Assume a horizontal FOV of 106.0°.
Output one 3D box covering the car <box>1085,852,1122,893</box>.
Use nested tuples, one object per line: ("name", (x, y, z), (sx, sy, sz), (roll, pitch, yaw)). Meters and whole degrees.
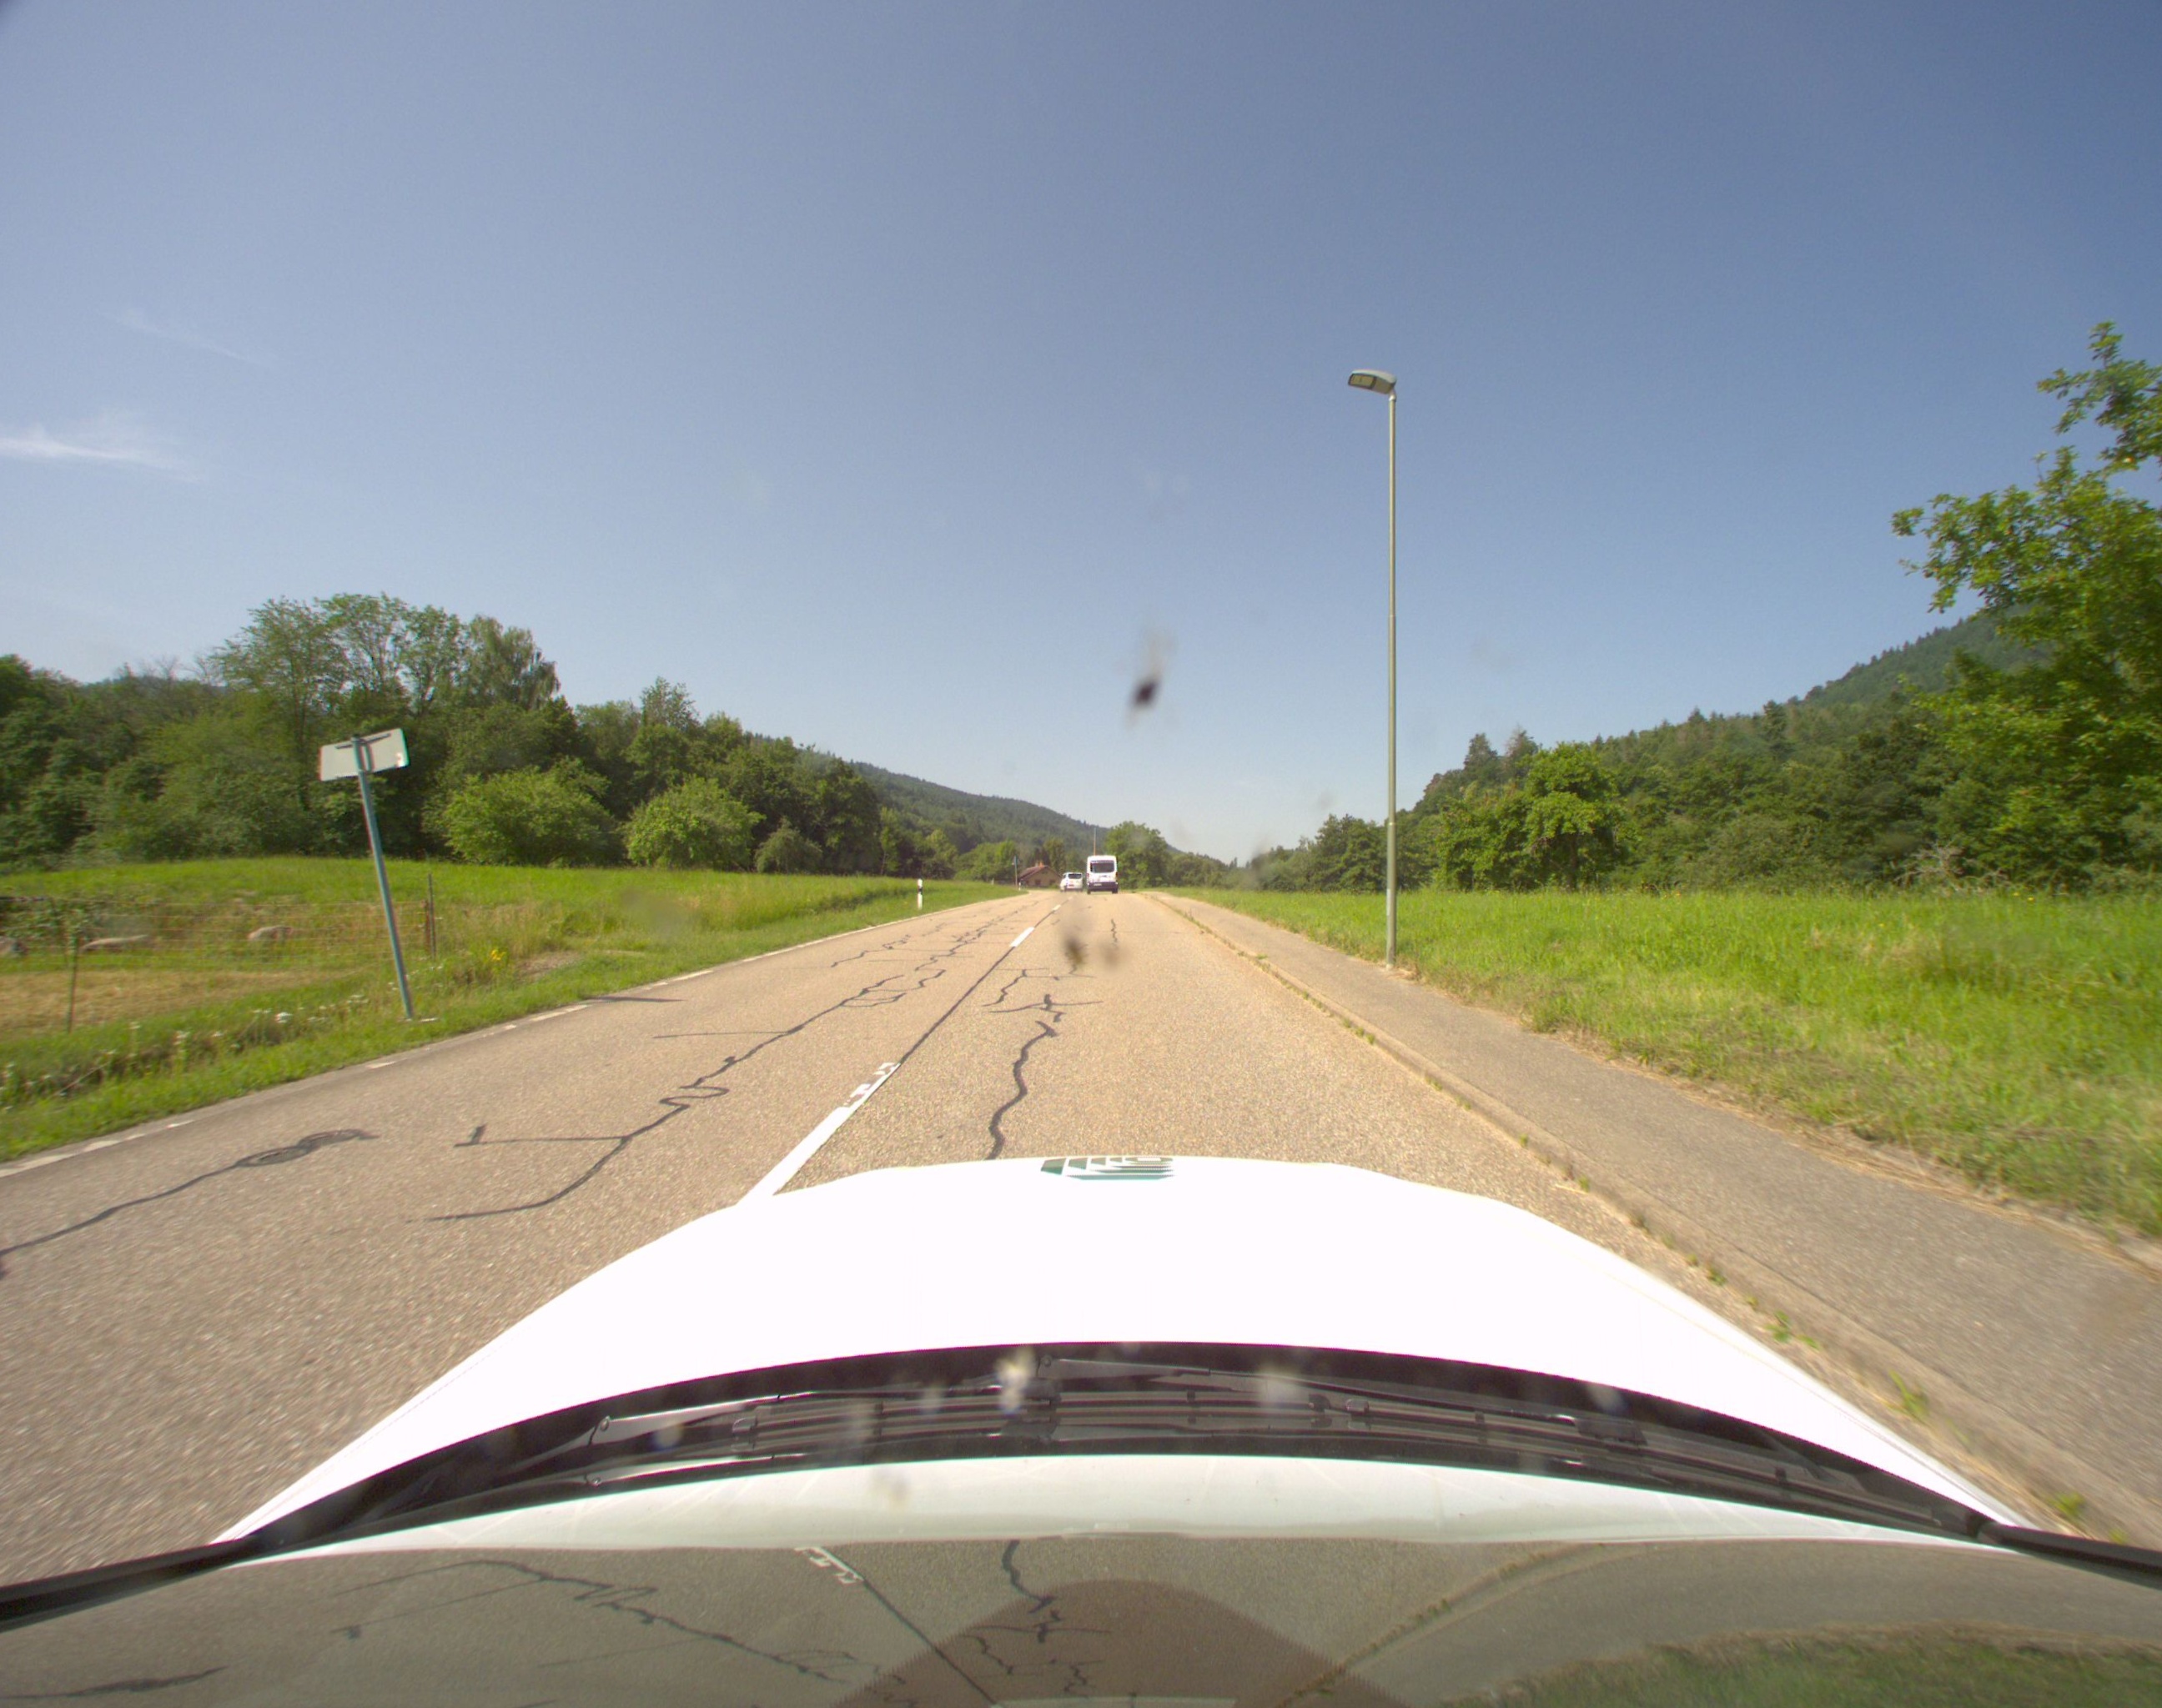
("car", (1.508, 1.291, 54.415), (2.215, 2.526, 4.984), (-3, -2, 1))

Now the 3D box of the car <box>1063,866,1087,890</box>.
("car", (-0.626, 2.566, 84.628), (2.217, 2.287, 4.978), (-3, -2, -3))
